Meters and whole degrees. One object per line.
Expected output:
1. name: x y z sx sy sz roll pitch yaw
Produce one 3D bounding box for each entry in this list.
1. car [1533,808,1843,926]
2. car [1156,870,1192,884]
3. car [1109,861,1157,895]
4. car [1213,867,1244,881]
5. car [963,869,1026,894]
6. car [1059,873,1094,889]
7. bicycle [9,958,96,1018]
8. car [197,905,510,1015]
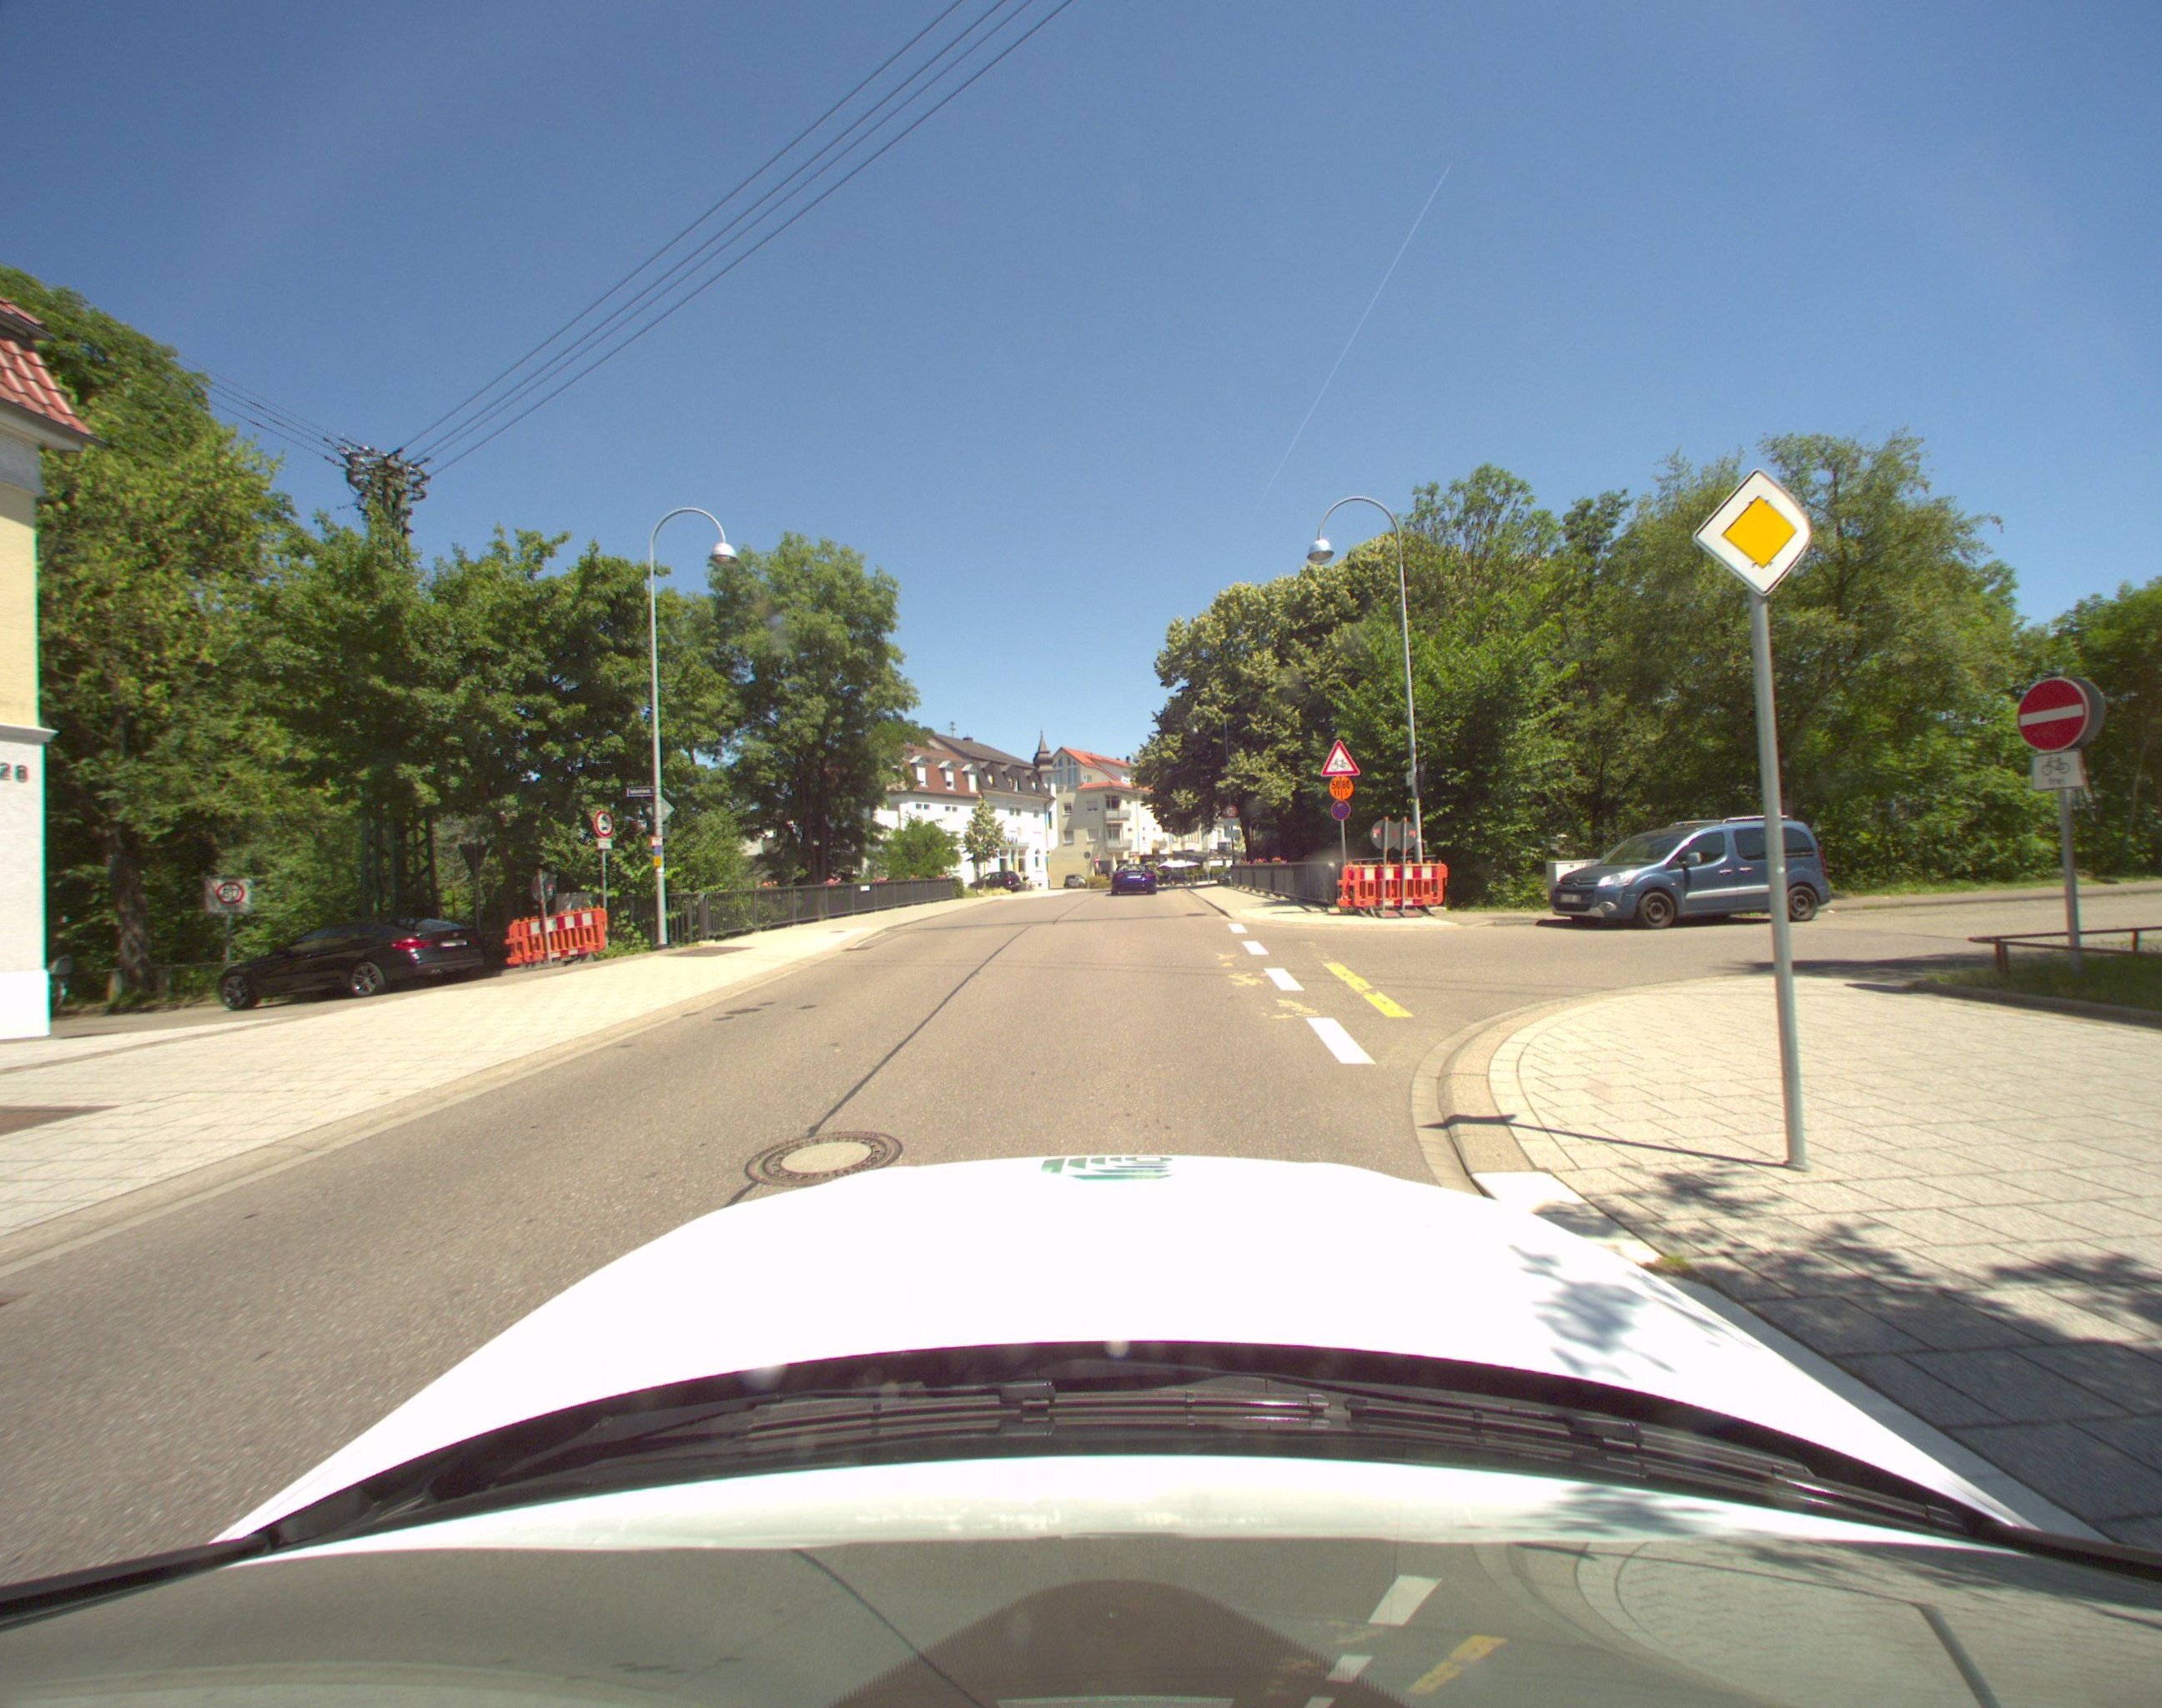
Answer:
1. car: 10.567 0.211 14.342 4.333 1.839 1.746 -1 -2 -7
2. car: 9.713 2.377 84.690 1.696 1.461 4.155 -1 -1 39
3. car: 2.247 1.003 35.021 1.862 1.342 4.600 -2 -1 4
4. car: 16.887 2.289 93.146 1.816 1.429 4.813 -2 -1 32
5. car: -6.467 2.067 60.906 4.142 1.662 1.982 -4 -2 25
6. car: -0.436 2.893 86.631 3.232 1.458 1.701 -4 -2 25
7. bicycle: -24.536 3.195 19.431 1.870 1.241 0.562 -5 -2 15
8. car: -14.253 2.050 16.115 4.505 1.419 2.004 -7 -1 6
